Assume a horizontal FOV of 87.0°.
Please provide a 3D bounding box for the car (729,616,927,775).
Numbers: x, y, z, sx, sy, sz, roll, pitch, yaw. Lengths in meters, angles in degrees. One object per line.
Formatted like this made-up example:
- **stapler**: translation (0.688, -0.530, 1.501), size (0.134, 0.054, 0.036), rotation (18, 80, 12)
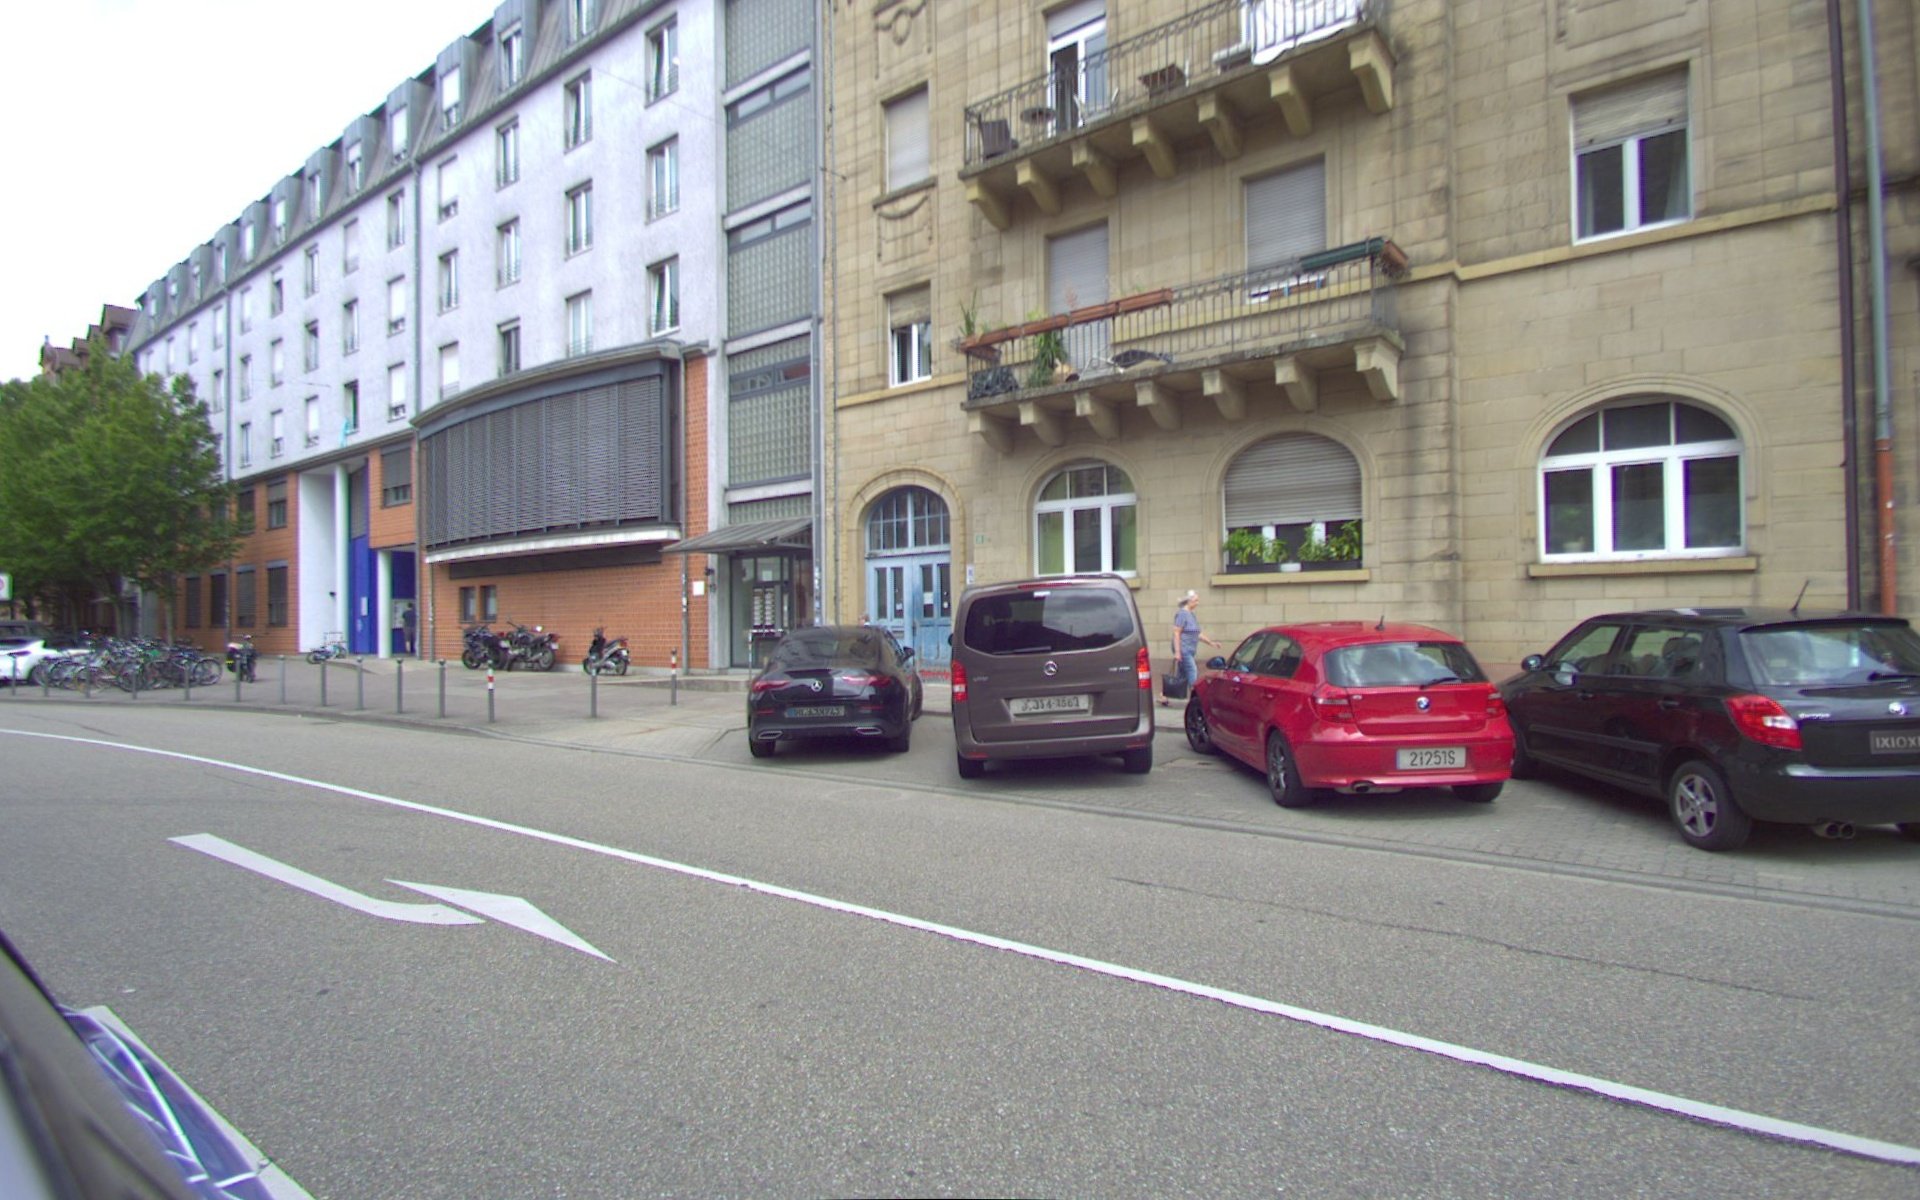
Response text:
- **car**: translation (-1.440, 1.022, 12.782), size (1.873, 1.420, 4.672), rotation (-3, 1, 0)

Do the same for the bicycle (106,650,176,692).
- **bicycle**: translation (-21.617, 1.868, 26.727), size (0.401, 1.034, 1.391), rotation (-2, -1, 40)

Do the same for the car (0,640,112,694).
- **car**: translation (-28.071, 1.978, 30.213), size (1.696, 1.480, 4.310), rotation (-1, -1, 5)

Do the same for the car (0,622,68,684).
- **car**: translation (-32.661, 1.803, 33.850), size (1.840, 2.013, 3.997), rotation (-1, 0, 7)

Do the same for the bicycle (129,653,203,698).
- **bicycle**: translation (-19.808, 1.863, 25.268), size (0.401, 1.034, 1.391), rotation (-2, -1, 40)

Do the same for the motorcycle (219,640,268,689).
- **motorcycle**: translation (-18.269, 1.618, 25.784), size (1.778, 1.181, 0.577), rotation (-2, -1, 41)

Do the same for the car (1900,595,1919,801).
- **car**: translation (8.029, 0.692, 5.797), size (1.775, 1.576, 4.004), rotation (-1, -2, 6)

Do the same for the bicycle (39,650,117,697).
- **bicycle**: translation (-21.771, 1.796, 25.002), size (0.401, 1.046, 1.392), rotation (-2, 0, 40)

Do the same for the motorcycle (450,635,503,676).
- **motorcycle**: translation (-13.048, 1.492, 27.288), size (1.654, 1.056, 0.578), rotation (-2, -1, 38)

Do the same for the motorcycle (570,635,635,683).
- **motorcycle**: translation (-8.293, 1.352, 23.446), size (1.792, 1.056, 0.578), rotation (-2, -1, 40)

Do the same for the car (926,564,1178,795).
- **car**: translation (0.948, 0.745, 11.196), size (2.094, 1.924, 5.264), rotation (-1, -2, 4)

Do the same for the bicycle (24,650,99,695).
- **bicycle**: translation (-23.254, 1.862, 26.209), size (0.401, 1.034, 1.392), rotation (-2, 0, 40)

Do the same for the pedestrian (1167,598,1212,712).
- **pedestrian**: translation (3.219, 0.761, 14.176), size (0.505, 1.557, 0.647), rotation (-1, -2, 20)

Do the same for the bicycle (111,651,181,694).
- **bicycle**: translation (-21.238, 1.885, 26.423), size (0.401, 1.034, 1.391), rotation (-2, -1, 40)

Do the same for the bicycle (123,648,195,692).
- **bicycle**: translation (-20.551, 1.788, 25.980), size (0.401, 1.034, 1.391), rotation (-2, -1, 40)

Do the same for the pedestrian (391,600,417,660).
- **pedestrian**: translation (-19.052, 1.024, 34.671), size (0.718, 2.029, 0.784), rotation (0, -2, -32)

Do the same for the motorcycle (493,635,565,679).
- **motorcycle**: translation (-11.054, 1.461, 25.916), size (1.957, 1.056, 0.580), rotation (-2, -1, 28)

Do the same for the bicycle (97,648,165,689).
- **bicycle**: translation (-22.582, 1.862, 27.575), size (0.401, 1.034, 1.391), rotation (-2, -1, 40)

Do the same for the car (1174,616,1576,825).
- **car**: translation (3.322, 0.889, 9.074), size (1.770, 1.420, 4.014), rotation (-1, -2, -2)

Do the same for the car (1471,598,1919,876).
- **car**: translation (5.538, 0.794, 7.516), size (1.610, 1.514, 3.992), rotation (-1, -2, 3)

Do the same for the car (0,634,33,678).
- **car**: translation (-36.968, 2.129, 37.356), size (1.691, 1.627, 3.999), rotation (-2, -2, 5)

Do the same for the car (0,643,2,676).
- **car**: translation (-41.306, 2.488, 40.735), size (1.576, 1.400, 3.999), rotation (-2, -2, 5)

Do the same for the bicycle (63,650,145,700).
- **bicycle**: translation (-20.142, 1.755, 23.839), size (0.401, 1.046, 1.392), rotation (-2, 0, 40)

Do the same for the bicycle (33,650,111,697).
- **bicycle**: translation (-22.271, 1.830, 25.402), size (0.401, 1.034, 1.392), rotation (-2, 0, 40)

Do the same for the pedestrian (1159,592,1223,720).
- **pedestrian**: translation (3.059, 0.722, 13.379), size (0.674, 1.607, 0.788), rotation (-2, 0, 21)

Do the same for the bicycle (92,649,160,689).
- **bicycle**: translation (-22.953, 1.888, 27.872), size (0.401, 1.034, 1.391), rotation (-2, -1, 40)

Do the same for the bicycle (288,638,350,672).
- **bicycle**: translation (-21.650, 1.837, 34.169), size (1.591, 0.933, 0.933), rotation (-7, 3, -40)

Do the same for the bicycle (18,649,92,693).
- **bicycle**: translation (-23.880, 1.862, 26.719), size (0.401, 1.034, 1.392), rotation (-2, 0, 40)

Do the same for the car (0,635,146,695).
- **car**: translation (-25.904, 1.809, 29.062), size (1.583, 1.557, 3.997), rotation (-1, -1, 7)

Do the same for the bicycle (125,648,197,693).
- **bicycle**: translation (-20.213, 1.769, 25.624), size (0.401, 1.034, 1.391), rotation (-2, -1, 40)

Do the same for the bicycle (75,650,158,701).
- **bicycle**: translation (-19.424, 1.728, 23.311), size (0.401, 1.046, 1.392), rotation (-2, 0, 40)

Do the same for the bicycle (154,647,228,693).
- **bicycle**: translation (-18.719, 1.690, 24.653), size (0.401, 1.034, 1.391), rotation (-2, -1, 40)

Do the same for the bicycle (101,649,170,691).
- **bicycle**: translation (-22.135, 1.867, 27.189), size (0.401, 1.034, 1.391), rotation (-2, -1, 40)

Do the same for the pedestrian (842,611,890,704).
- **pedestrian**: translation (-1.540, 0.931, 16.626), size (0.506, 1.497, 0.656), rotation (-2, -2, 25)
